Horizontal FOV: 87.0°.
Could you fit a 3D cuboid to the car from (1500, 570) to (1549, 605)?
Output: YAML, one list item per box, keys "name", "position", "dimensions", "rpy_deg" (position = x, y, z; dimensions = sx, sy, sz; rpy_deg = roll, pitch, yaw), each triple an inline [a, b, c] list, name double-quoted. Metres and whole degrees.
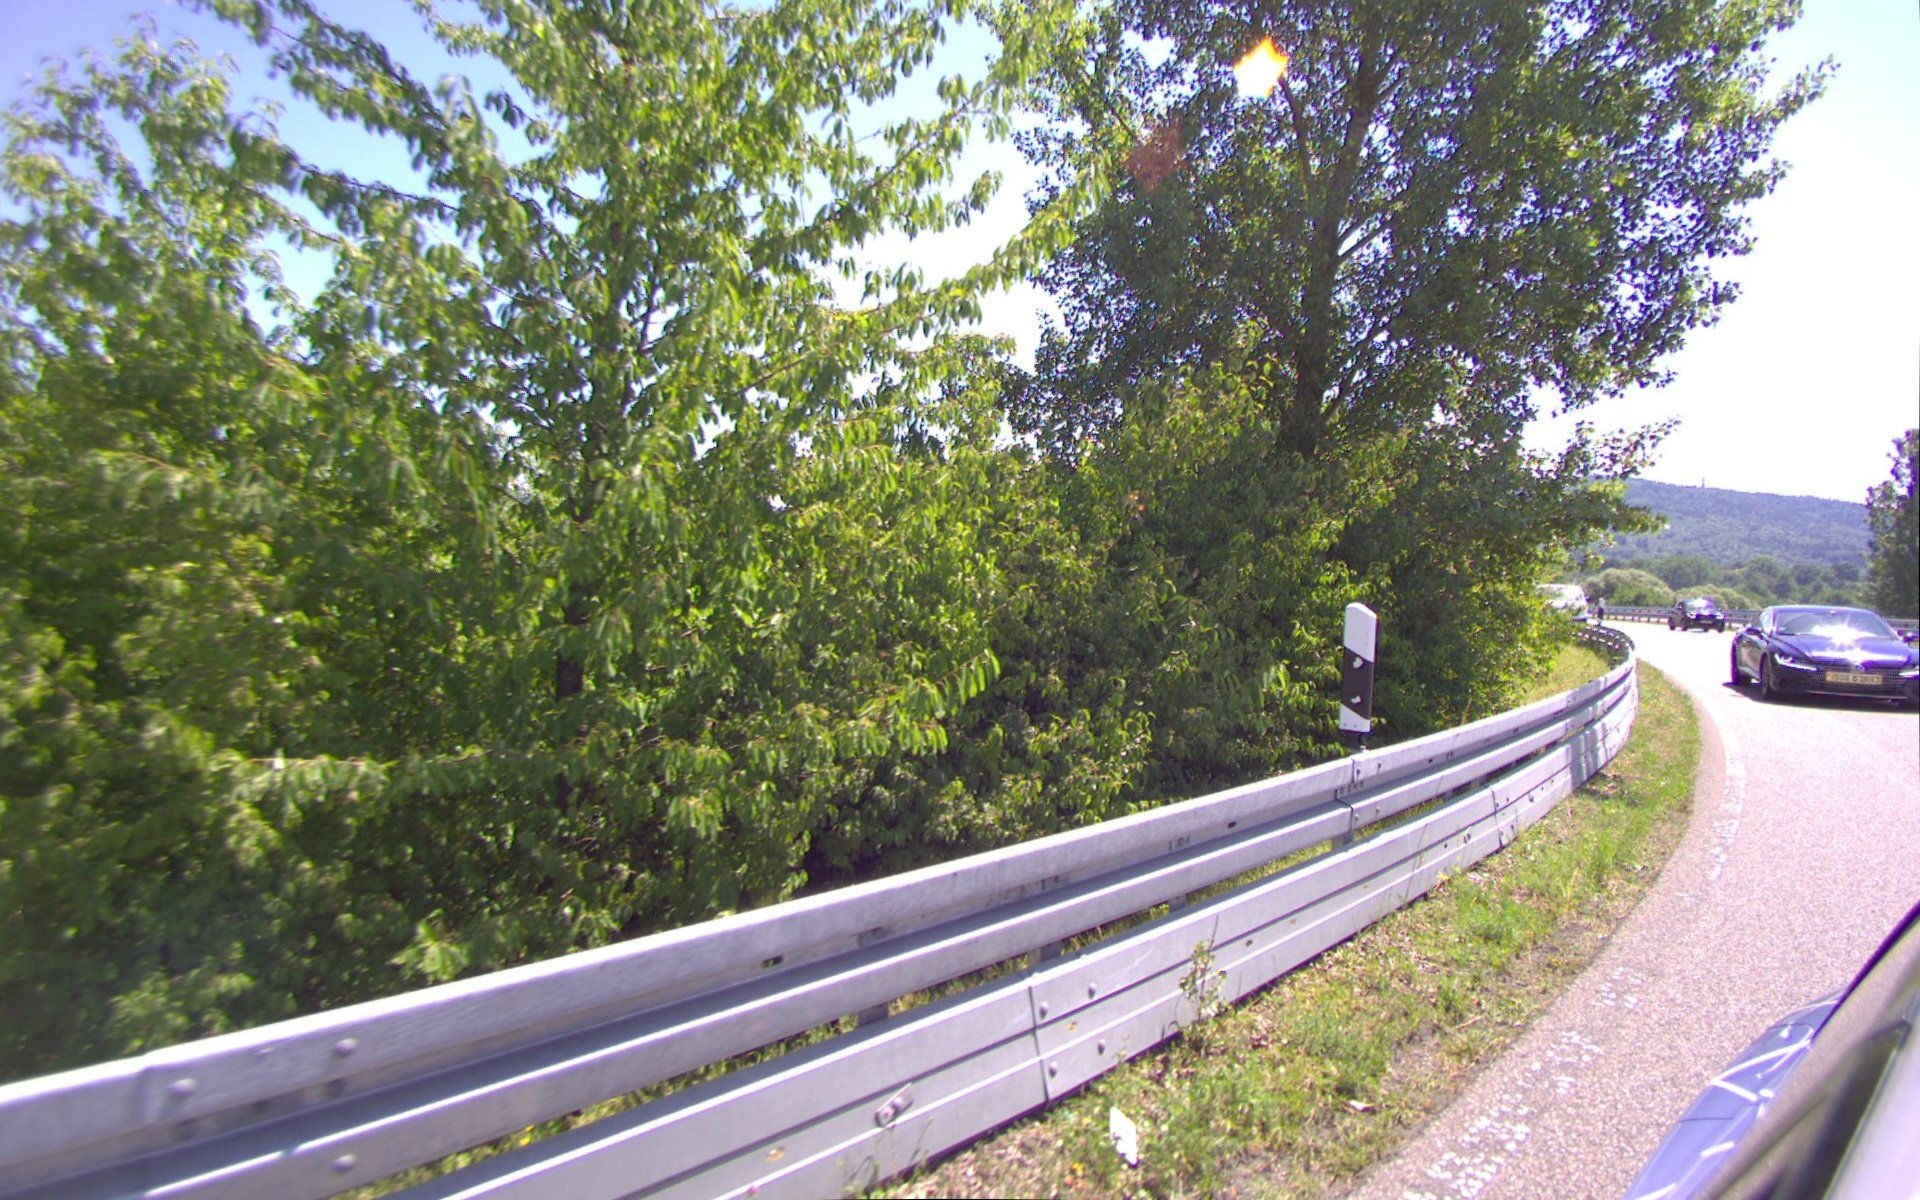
- name: "car"
  position: [33.443, -0.767, 60.061]
  dimensions: [1.977, 1.975, 4.609]
  rpy_deg: [1, 1, 22]

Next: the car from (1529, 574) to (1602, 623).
- name: "car"
  position: [26.070, -0.099, 43.733]
  dimensions: [1.977, 1.975, 4.609]
  rpy_deg: [1, 1, 22]

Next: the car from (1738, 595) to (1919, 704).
- name: "car"
  position: [13.592, 0.650, 15.759]
  dimensions: [1.829, 1.448, 4.483]
  rpy_deg: [0, 0, 31]

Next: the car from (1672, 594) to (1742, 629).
- name: "car"
  position: [36.605, 0.533, 49.686]
  dimensions: [1.810, 1.632, 3.970]
  rpy_deg: [1, 0, 22]
